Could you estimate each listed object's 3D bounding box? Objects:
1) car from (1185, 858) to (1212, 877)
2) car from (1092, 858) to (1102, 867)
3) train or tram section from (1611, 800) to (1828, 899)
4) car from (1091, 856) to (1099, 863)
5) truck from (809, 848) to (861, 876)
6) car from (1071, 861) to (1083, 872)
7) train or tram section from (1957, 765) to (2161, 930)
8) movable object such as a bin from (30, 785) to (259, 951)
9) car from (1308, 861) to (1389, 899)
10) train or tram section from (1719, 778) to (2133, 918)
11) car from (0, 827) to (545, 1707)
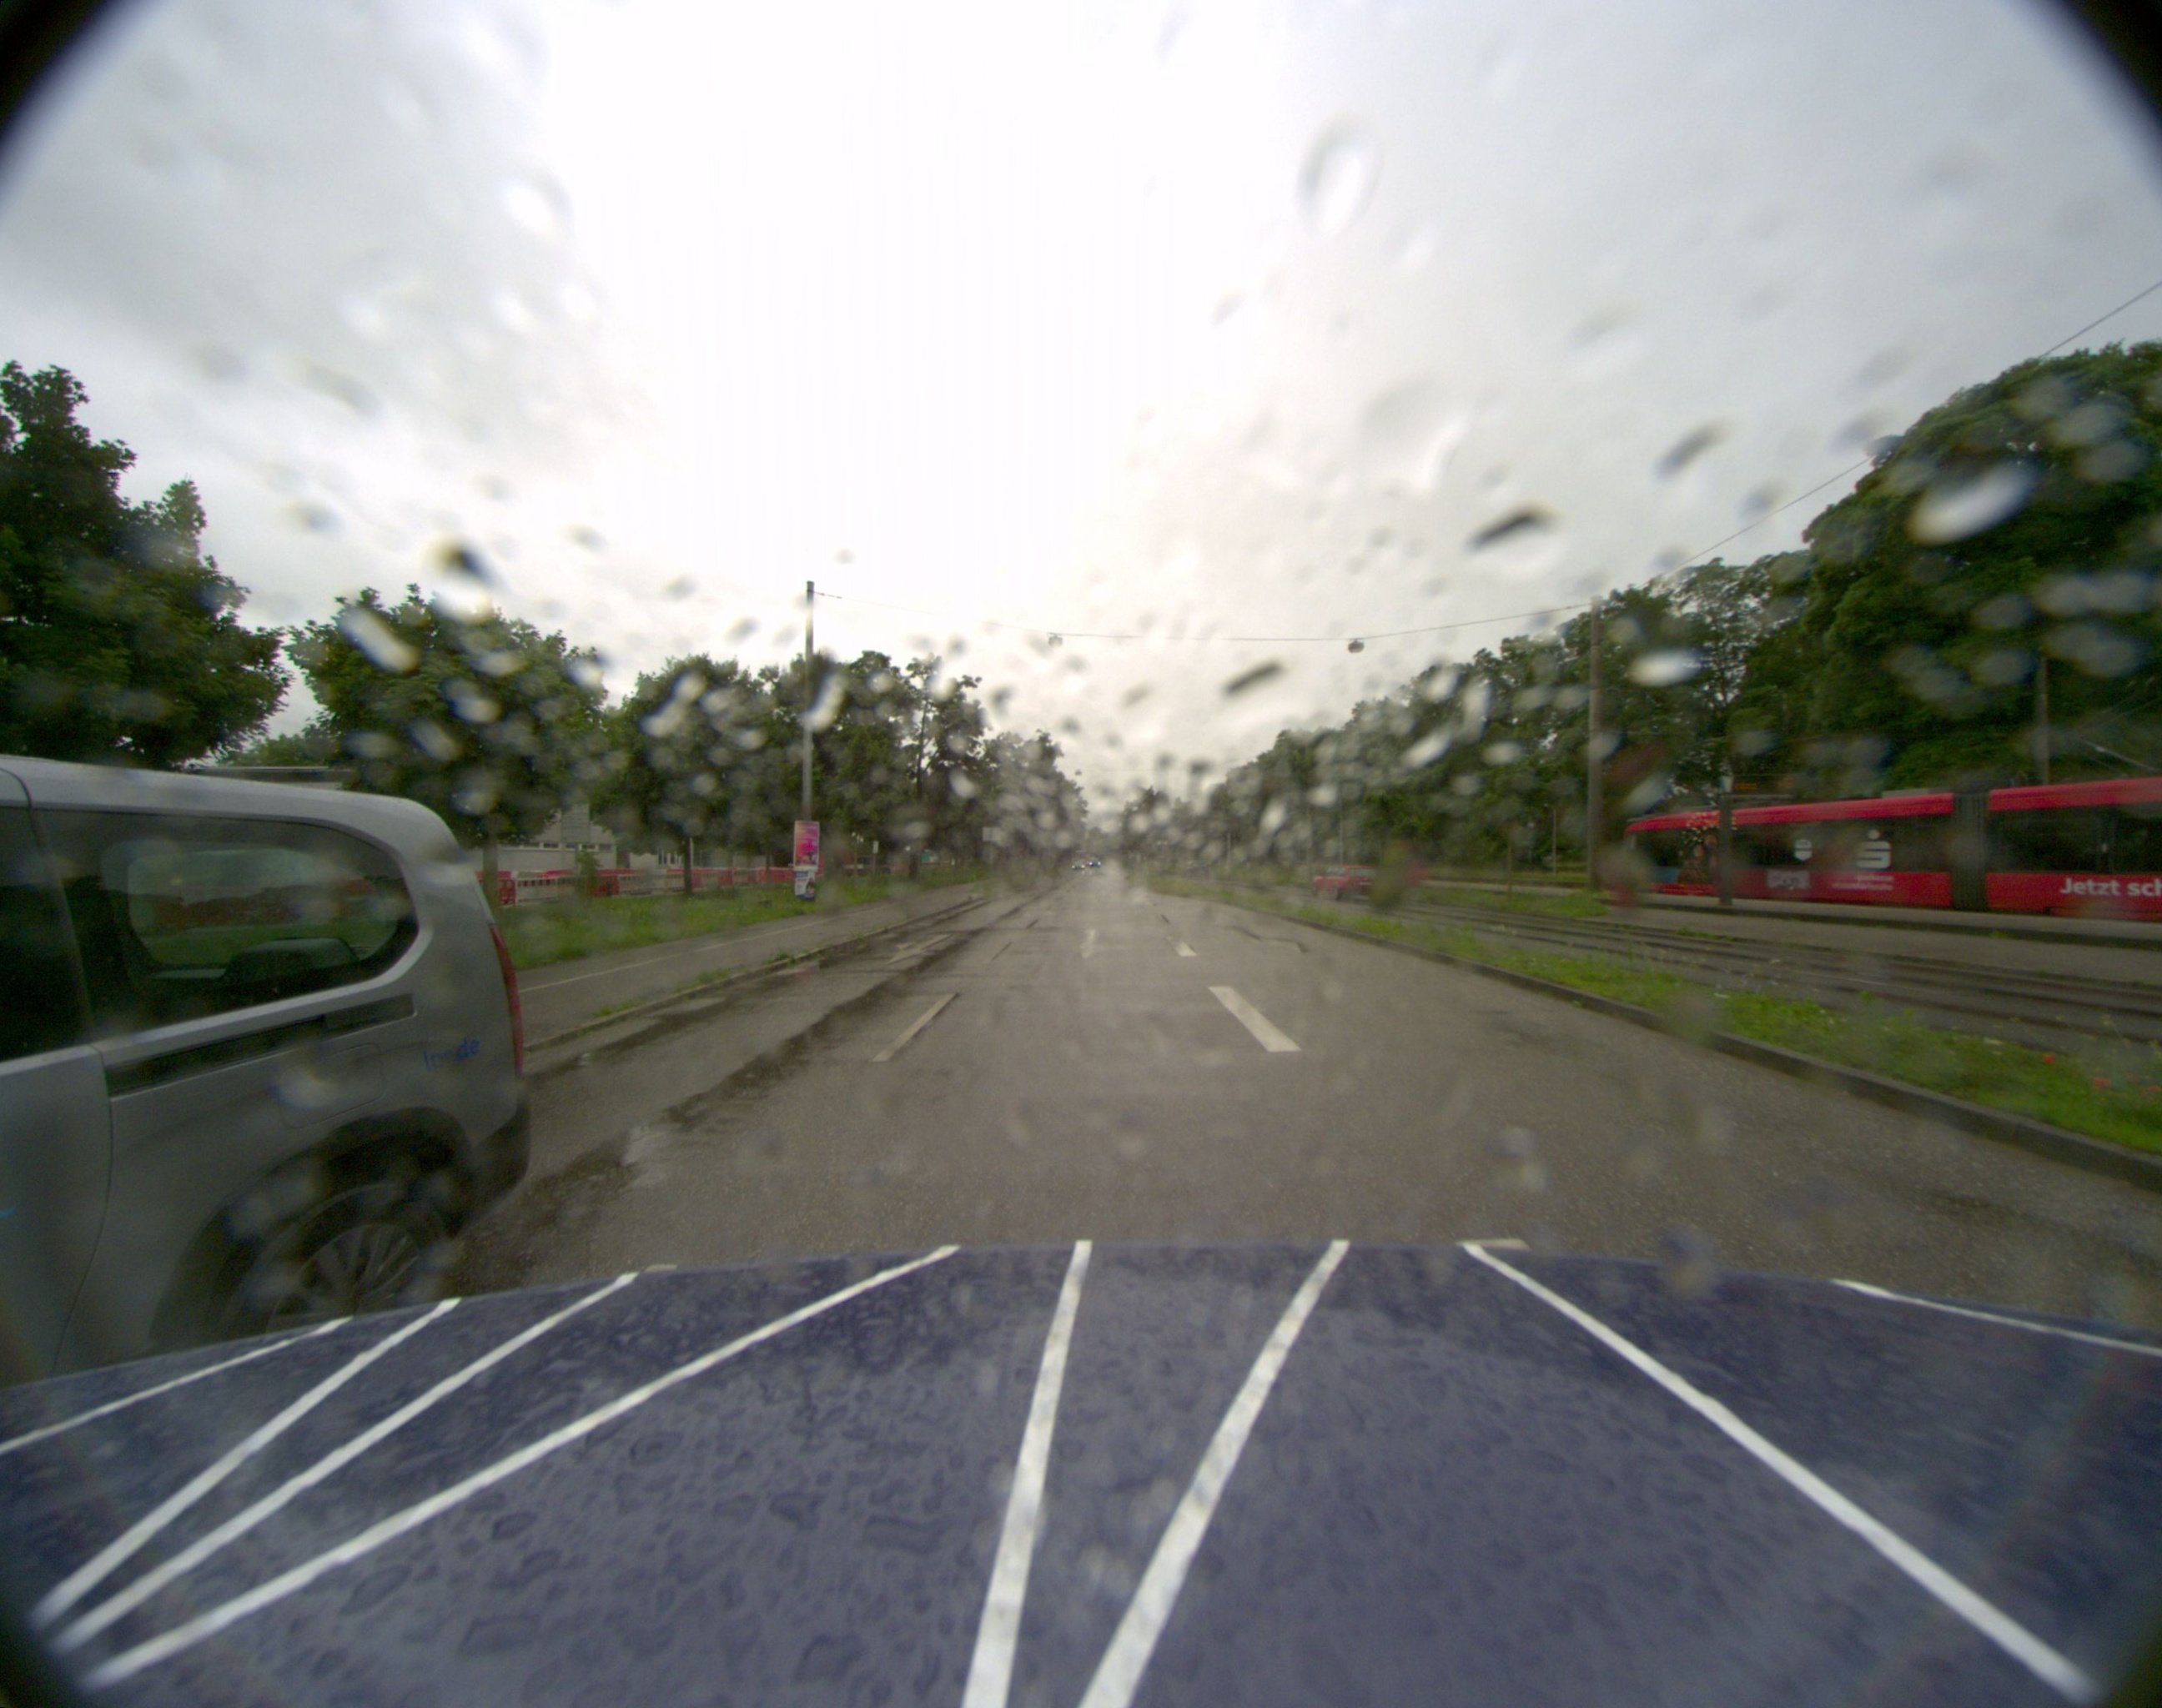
[{"bbox_3d":[9.944,1.139,64.436,1.741,1.428,3.820,-1,1,1],"label":"car"},{"bbox_3d":[3.048,1.572,144.732,1.812,1.683,3.776,-2,1,0],"label":"car"},{"bbox_3d":[24.059,-0.136,29.120,3.542,3.398,5.769,0,0,1],"label":"train or tram section"},{"bbox_3d":[3.320,1.295,182.522,1.898,1.602,4.000,-2,1,1],"label":"car"},{"bbox_3d":[-27.245,0.791,84.678,2.811,2.882,8.749,-2,1,0],"label":"truck"},{"bbox_3d":[-0.612,1.893,120.276,1.858,1.583,3.999,-2,1,-1],"label":"car"},{"bbox_3d":[23.842,-0.144,14.046,3.542,3.381,10.261,0,0,1],"label":"train or tram section"},{"bbox_3d":[-27.194,0.370,22.297,1.557,4.401,3.909,-2,1,2],"label":"movable object such as a bin"},{"bbox_3d":[10.802,1.013,30.972,1.685,1.353,4.251,2,0,-1],"label":"car"},{"bbox_3d":[23.976,-0.137,22.533,3.542,3.392,7.903,0,0,1],"label":"train or tram section"},{"bbox_3d":[-2.999,0.878,0.498,1.998,1.785,4.562,-2,0,0],"label":"car"}]
